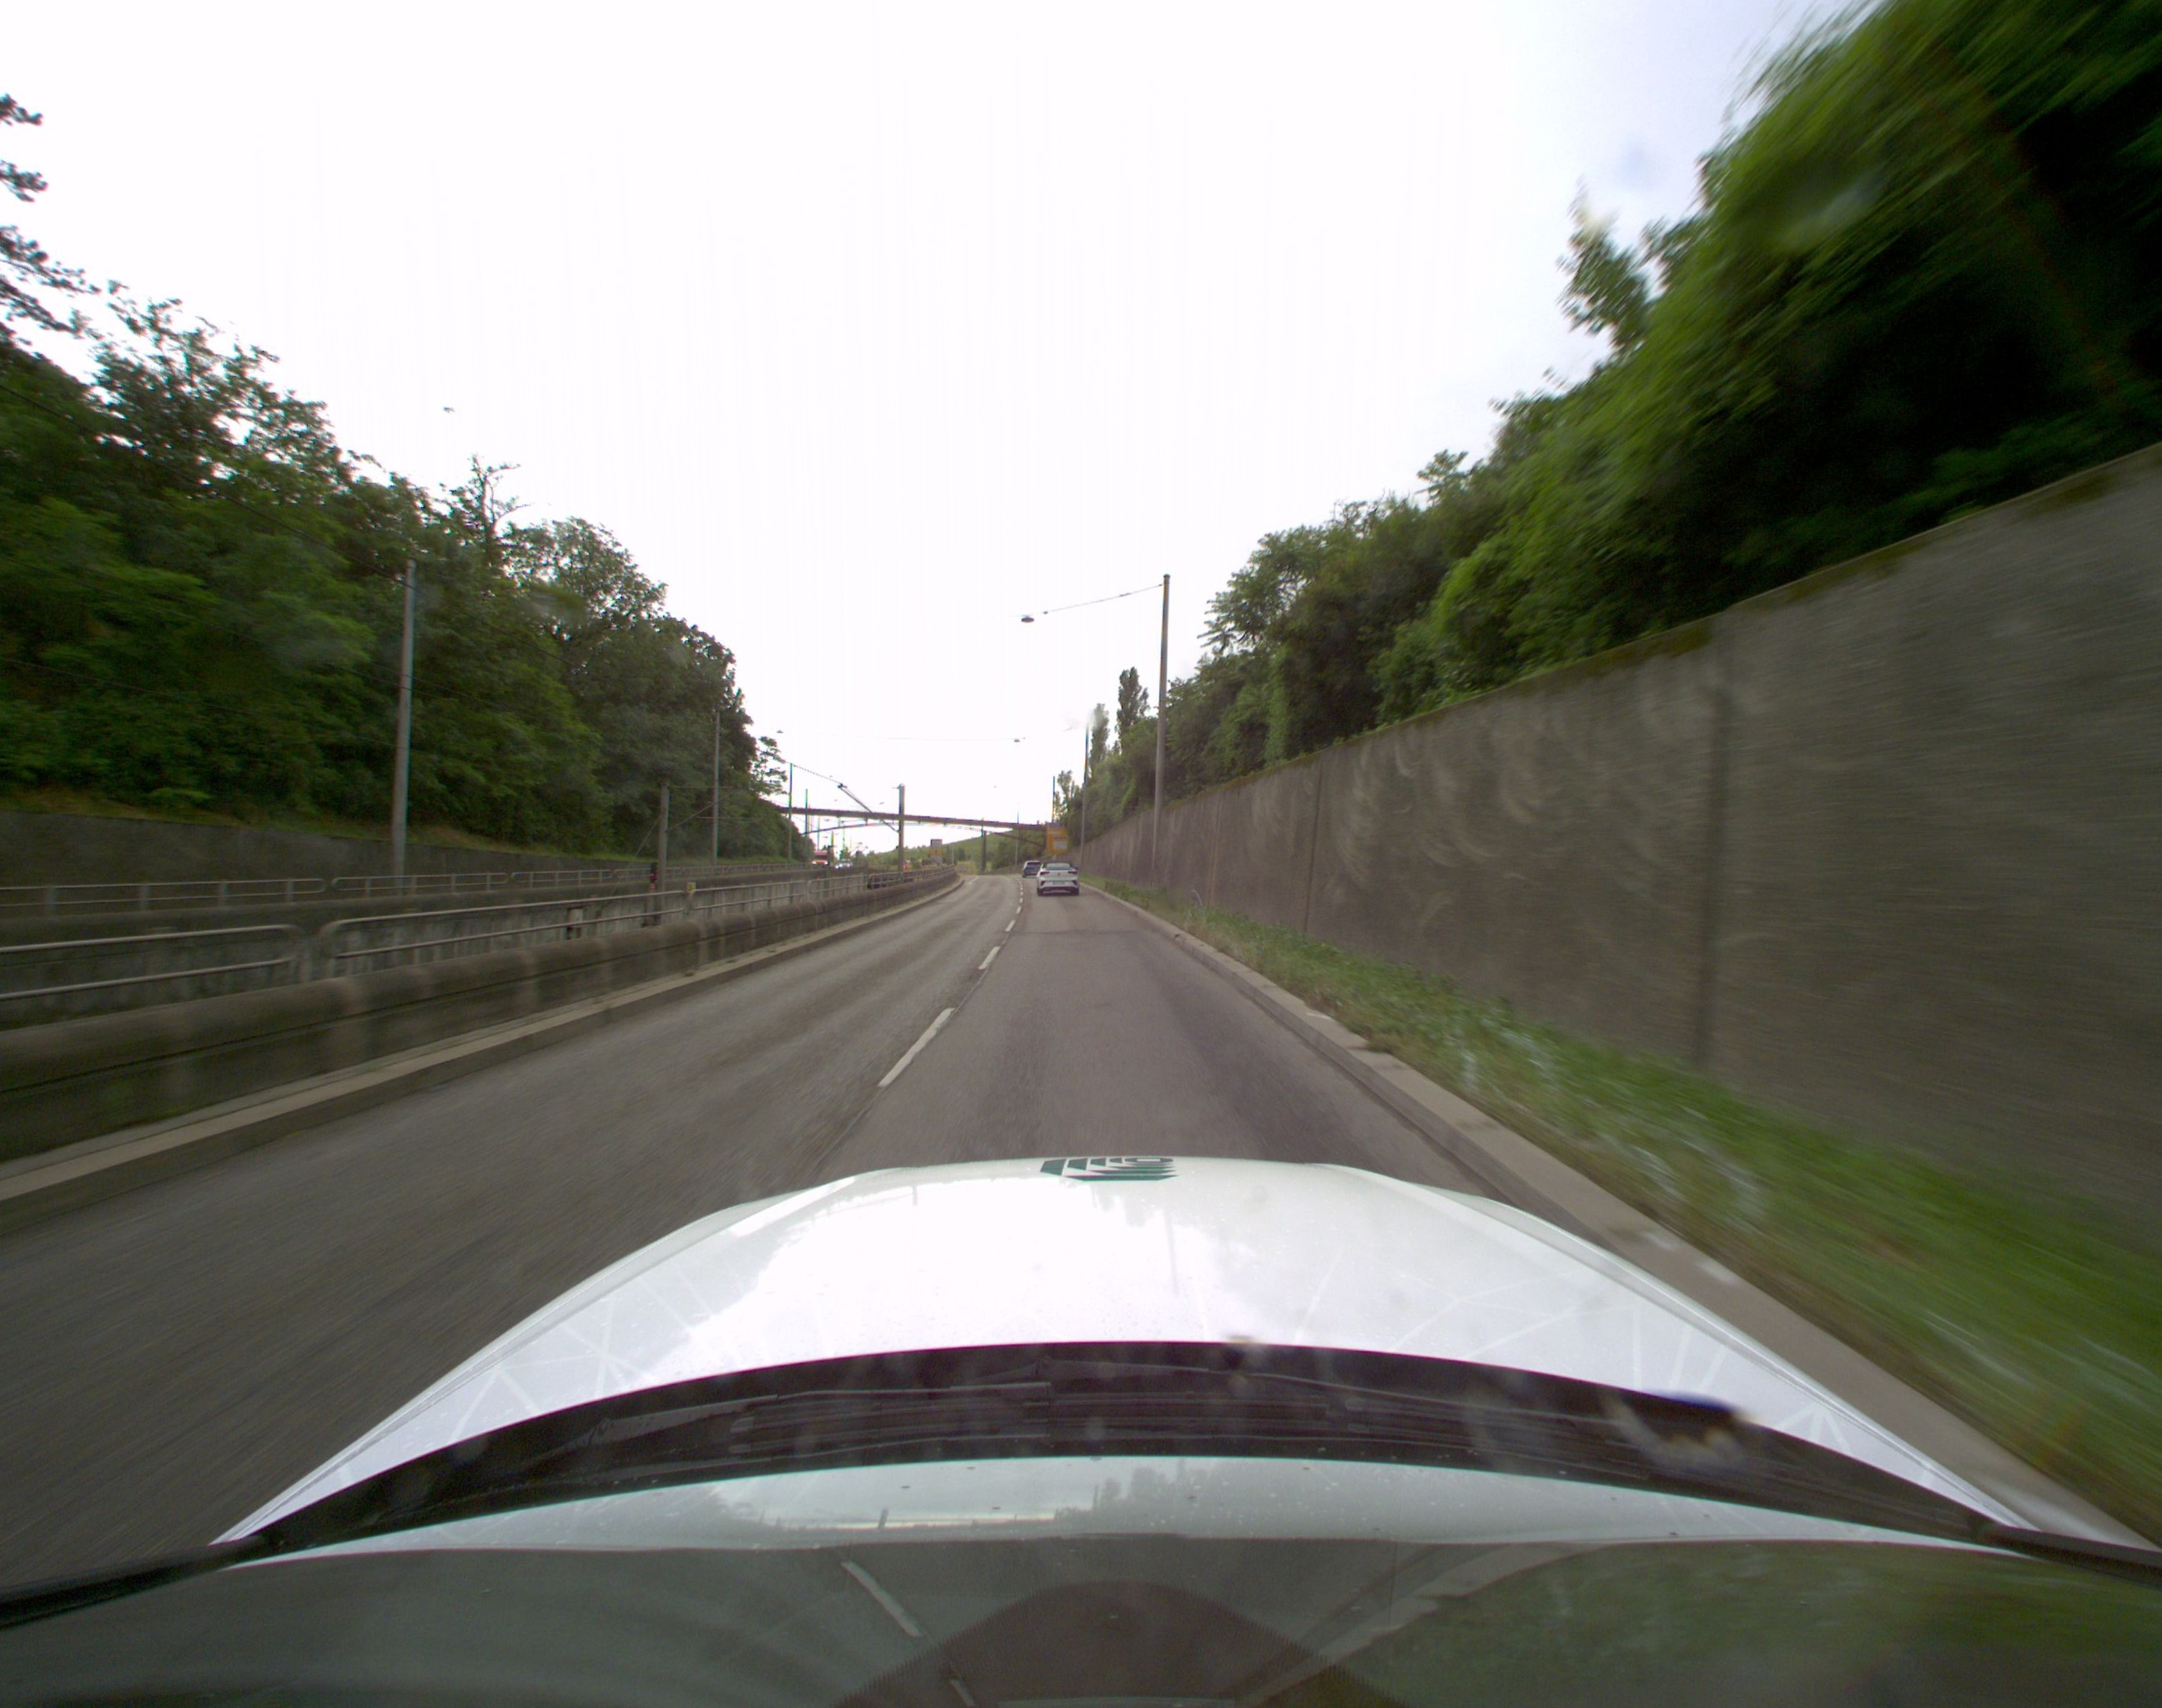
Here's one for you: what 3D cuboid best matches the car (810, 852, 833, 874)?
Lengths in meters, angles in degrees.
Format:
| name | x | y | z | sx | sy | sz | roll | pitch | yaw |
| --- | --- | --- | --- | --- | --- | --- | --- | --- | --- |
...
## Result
| name | x | y | z | sx | sy | sz | roll | pitch | yaw |
| --- | --- | --- | --- | --- | --- | --- | --- | --- | --- |
| car | -34.382 | 1.188 | 108.097 | 2.184 | 2.734 | 6.320 | -1 | -1 | -11 |

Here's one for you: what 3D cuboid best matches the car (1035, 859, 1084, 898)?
| name | x | y | z | sx | sy | sz | roll | pitch | yaw |
| --- | --- | --- | --- | --- | --- | --- | --- | --- | --- |
| car | -1.030 | 1.040 | 36.178 | 1.992 | 1.578 | 4.119 | -1 | 0 | -4 |

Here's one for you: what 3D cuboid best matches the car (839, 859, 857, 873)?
| name | x | y | z | sx | sy | sz | roll | pitch | yaw |
| --- | --- | --- | --- | --- | --- | --- | --- | --- | --- |
| car | -29.701 | 1.478 | 103.931 | 1.818 | 1.704 | 4.094 | -1 | -1 | -11 |

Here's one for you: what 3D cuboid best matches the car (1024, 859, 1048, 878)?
| name | x | y | z | sx | sy | sz | roll | pitch | yaw |
| --- | --- | --- | --- | --- | --- | --- | --- | --- | --- |
| car | -3.888 | 1.243 | 71.185 | 1.921 | 1.599 | 4.058 | -1 | 0 | -2 |

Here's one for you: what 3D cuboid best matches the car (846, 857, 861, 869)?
| name | x | y | z | sx | sy | sz | roll | pitch | yaw |
| --- | --- | --- | --- | --- | --- | --- | --- | --- | --- |
| car | -36.953 | 1.463 | 132.326 | 1.963 | 1.750 | 4.122 | -1 | -1 | -13 |
